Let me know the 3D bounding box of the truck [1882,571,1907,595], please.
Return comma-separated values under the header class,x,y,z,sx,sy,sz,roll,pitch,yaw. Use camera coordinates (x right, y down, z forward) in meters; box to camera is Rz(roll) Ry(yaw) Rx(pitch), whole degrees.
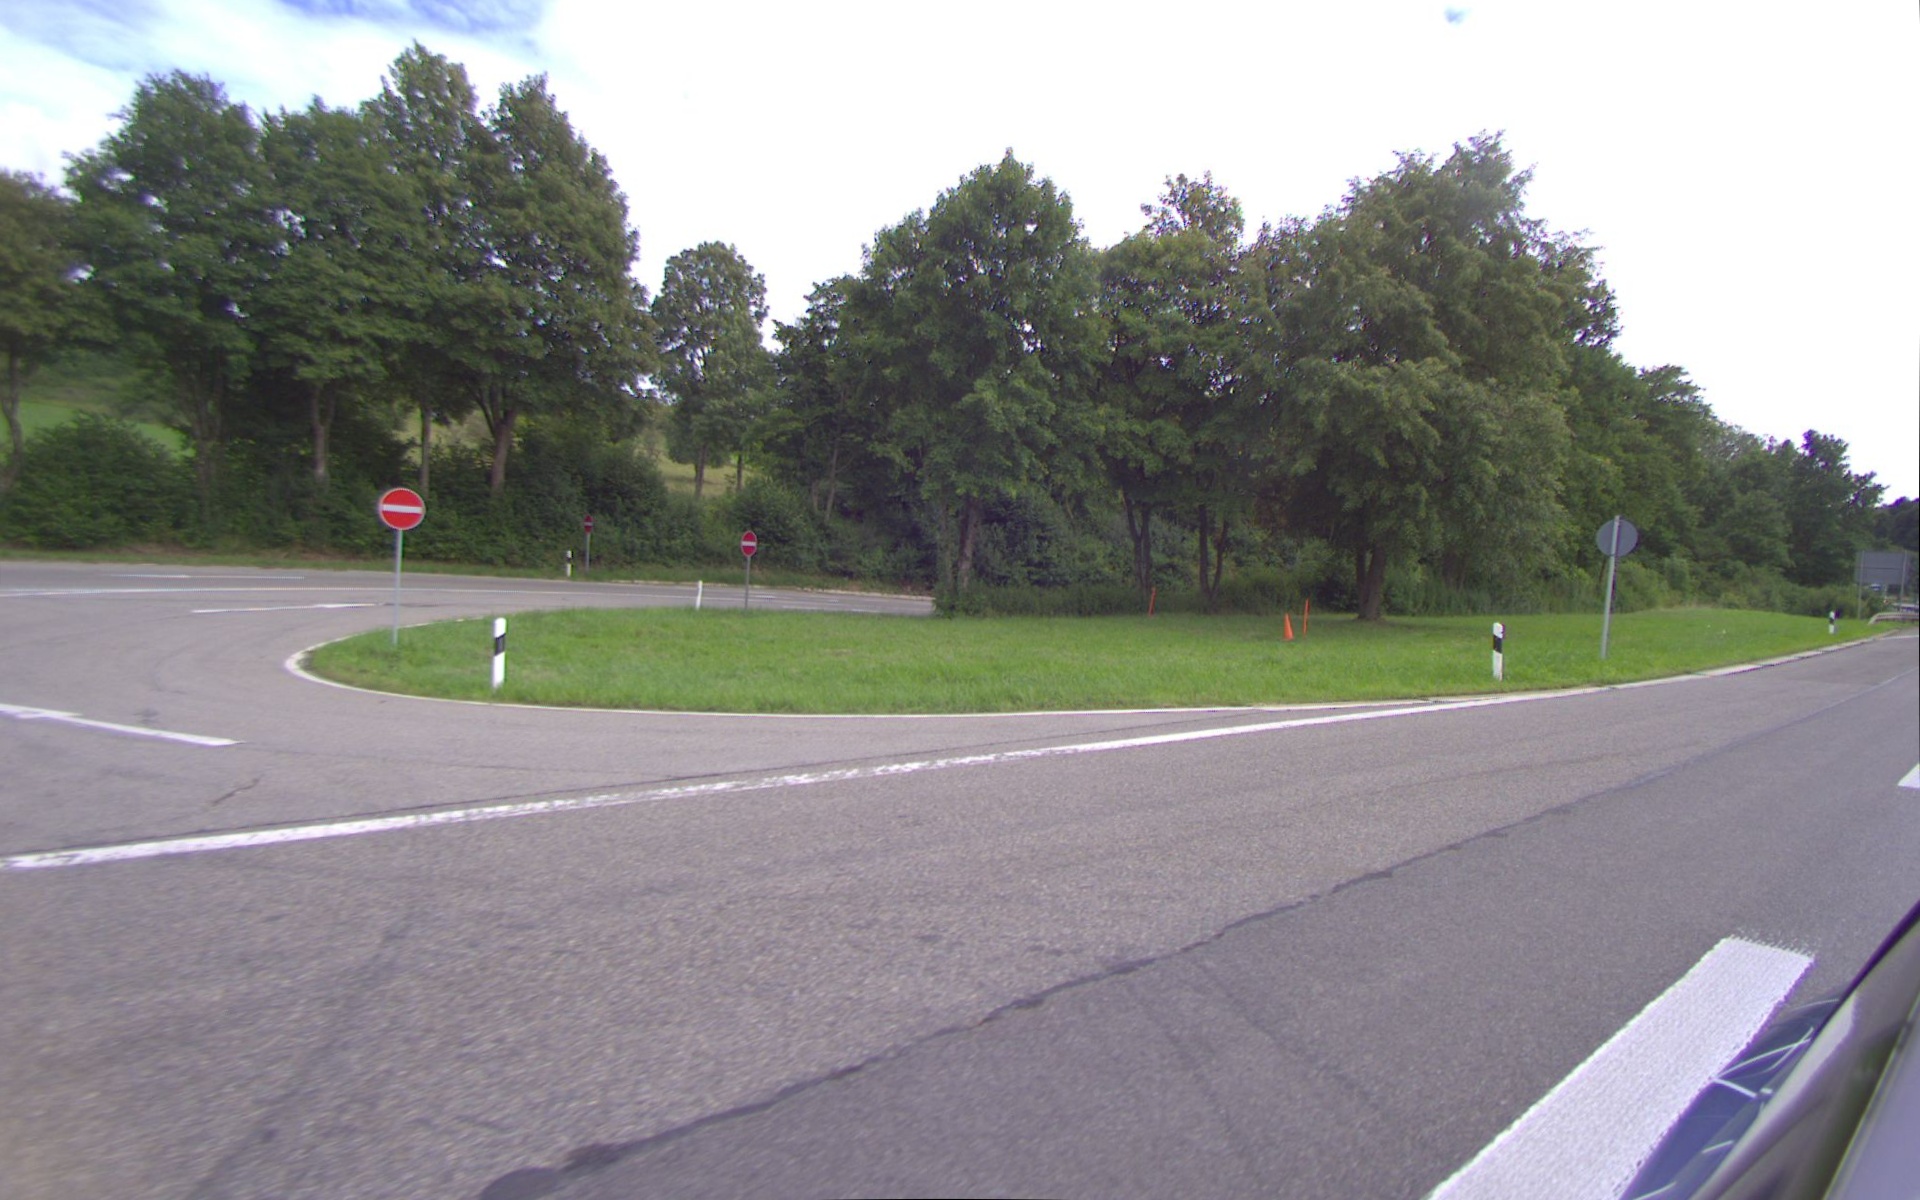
class,x,y,z,sx,sy,sz,roll,pitch,yaw
truck,155.766,-2.844,168.602,2.790,4.020,5.845,2,2,45
